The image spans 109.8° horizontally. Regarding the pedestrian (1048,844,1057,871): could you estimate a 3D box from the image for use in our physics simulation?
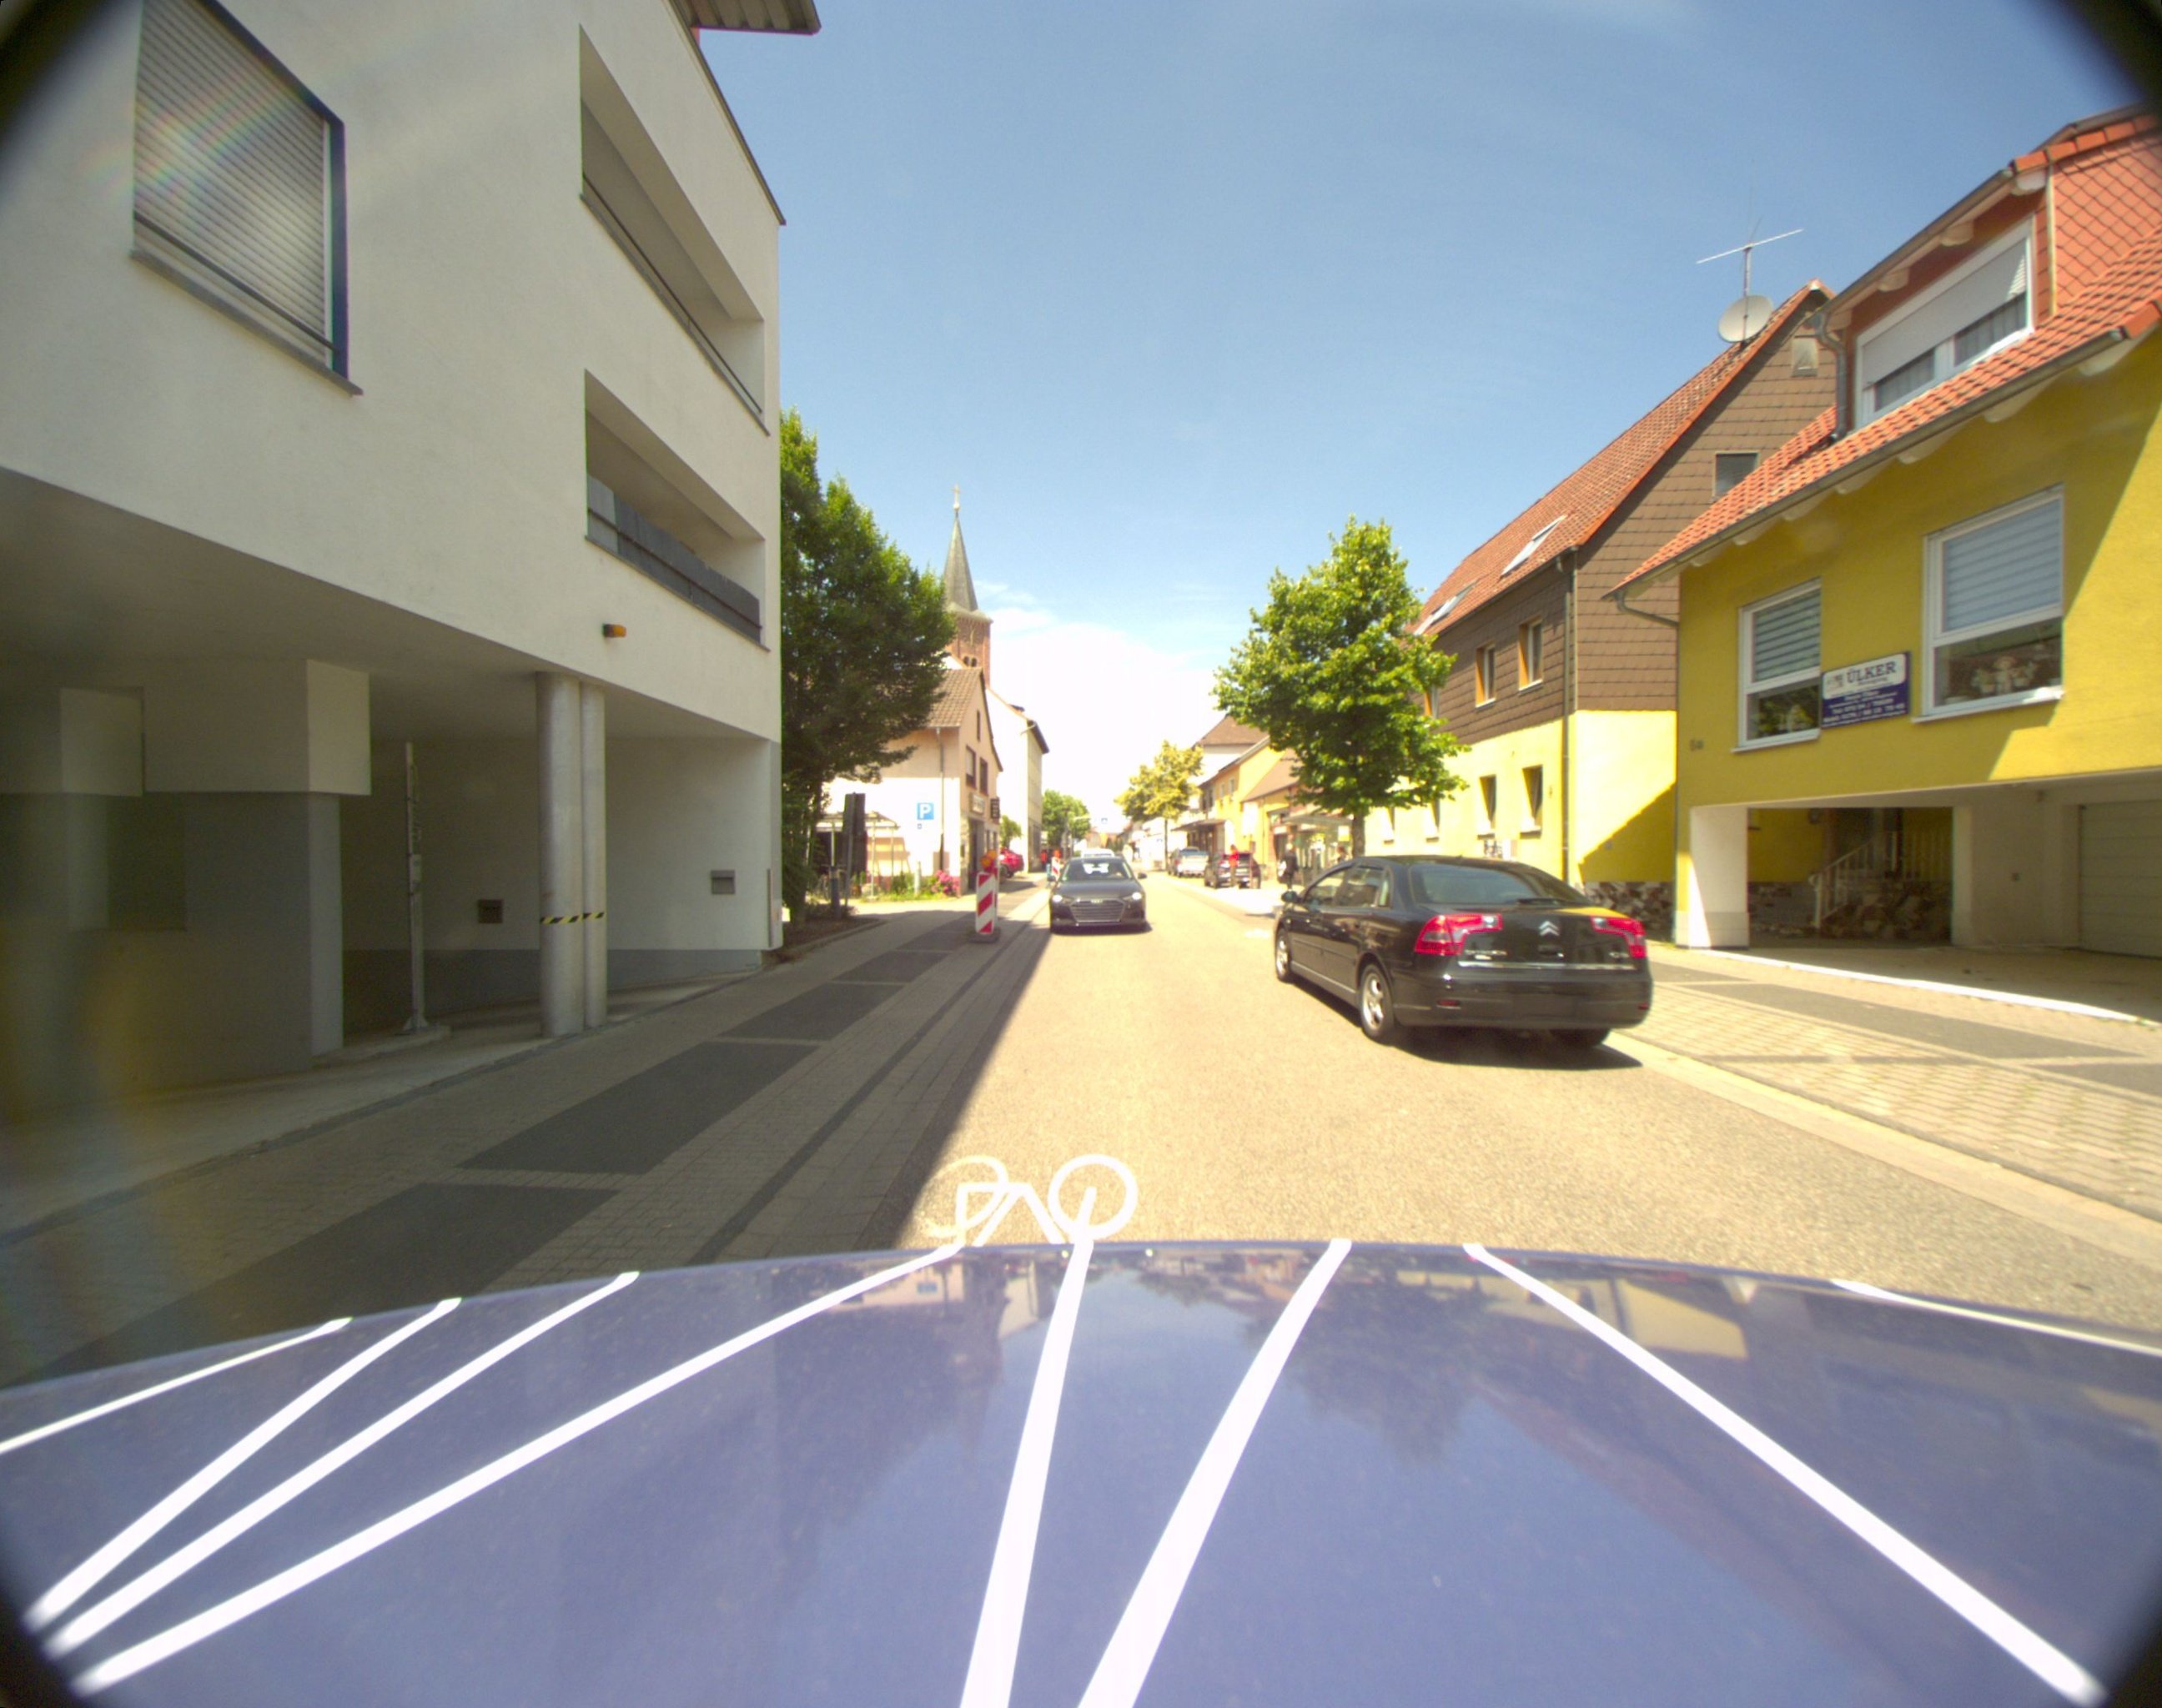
[{"bbox_3d":[-2.004,0.227,54.035,0.581,1.875,0.695,0,1,3],"label":"pedestrian"}]

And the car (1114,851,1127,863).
[{"bbox_3d":[5.937,0.421,114.681,1.695,1.761,3.999,-4,0,0],"label":"car"}]

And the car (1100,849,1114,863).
[{"bbox_3d":[2.957,0.233,87.768,1.581,1.620,4.065,0,0,1],"label":"car"}]

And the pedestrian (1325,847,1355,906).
[{"bbox_3d":[7.025,0.608,20.642,0.631,1.592,0.528,0,1,2],"label":"pedestrian"}]

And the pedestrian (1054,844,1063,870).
[{"bbox_3d":[-1.661,0.202,55.391,0.581,1.875,0.695,0,1,3],"label":"pedestrian"}]

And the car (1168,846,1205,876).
[{"bbox_3d":[6.637,0.440,48.218,1.695,1.742,3.999,-3,0,0],"label":"car"}]

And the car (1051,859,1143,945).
[{"bbox_3d":[0.304,0.832,15.053,1.581,1.424,4.065,0,0,1],"label":"car"}]

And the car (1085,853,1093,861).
[{"bbox_3d":[1.728,0.700,164.297,1.720,1.577,3.730,-3,1,0],"label":"car"}]

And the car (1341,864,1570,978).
[{"bbox_3d":[5.604,0.911,12.016,1.660,1.399,4.158,0,0,1],"label":"car"}]

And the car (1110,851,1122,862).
[{"bbox_3d":[5.804,0.435,127.168,1.695,1.761,3.999,-4,0,0],"label":"car"}]

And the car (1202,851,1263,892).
[{"bbox_3d":[6.194,0.665,31.450,1.753,1.566,4.158,-1,0,1],"label":"car"}]

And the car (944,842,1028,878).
[{"bbox_3d":[-5.039,0.319,40.797,4.203,1.849,2.000,0,1,1],"label":"car"}]

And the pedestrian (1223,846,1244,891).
[{"bbox_3d":[5.534,0.520,27.668,0.643,1.645,0.624,0,1,1],"label":"pedestrian"}]

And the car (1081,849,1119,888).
[{"bbox_3d":[0.840,0.589,33.754,1.581,1.620,4.065,0,0,1],"label":"car"}]

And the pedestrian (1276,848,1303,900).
[{"bbox_3d":[6.526,0.609,23.785,0.663,1.592,0.771,0,1,2],"label":"pedestrian"}]

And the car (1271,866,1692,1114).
[{"bbox_3d":[3.044,0.901,6.844,1.693,1.464,4.000,1,0,1],"label":"car"}]

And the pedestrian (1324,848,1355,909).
[{"bbox_3d":[6.806,0.631,20.005,0.631,1.592,0.528,0,1,2],"label":"pedestrian"}]

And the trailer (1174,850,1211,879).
[{"bbox_3d":[6.421,0.578,44.085,1.493,1.571,3.883,-3,0,-1],"label":"trailer"}]

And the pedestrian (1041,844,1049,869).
[{"bbox_3d":[-2.669,0.171,56.409,0.581,1.875,0.695,0,1,3],"label":"pedestrian"}]
